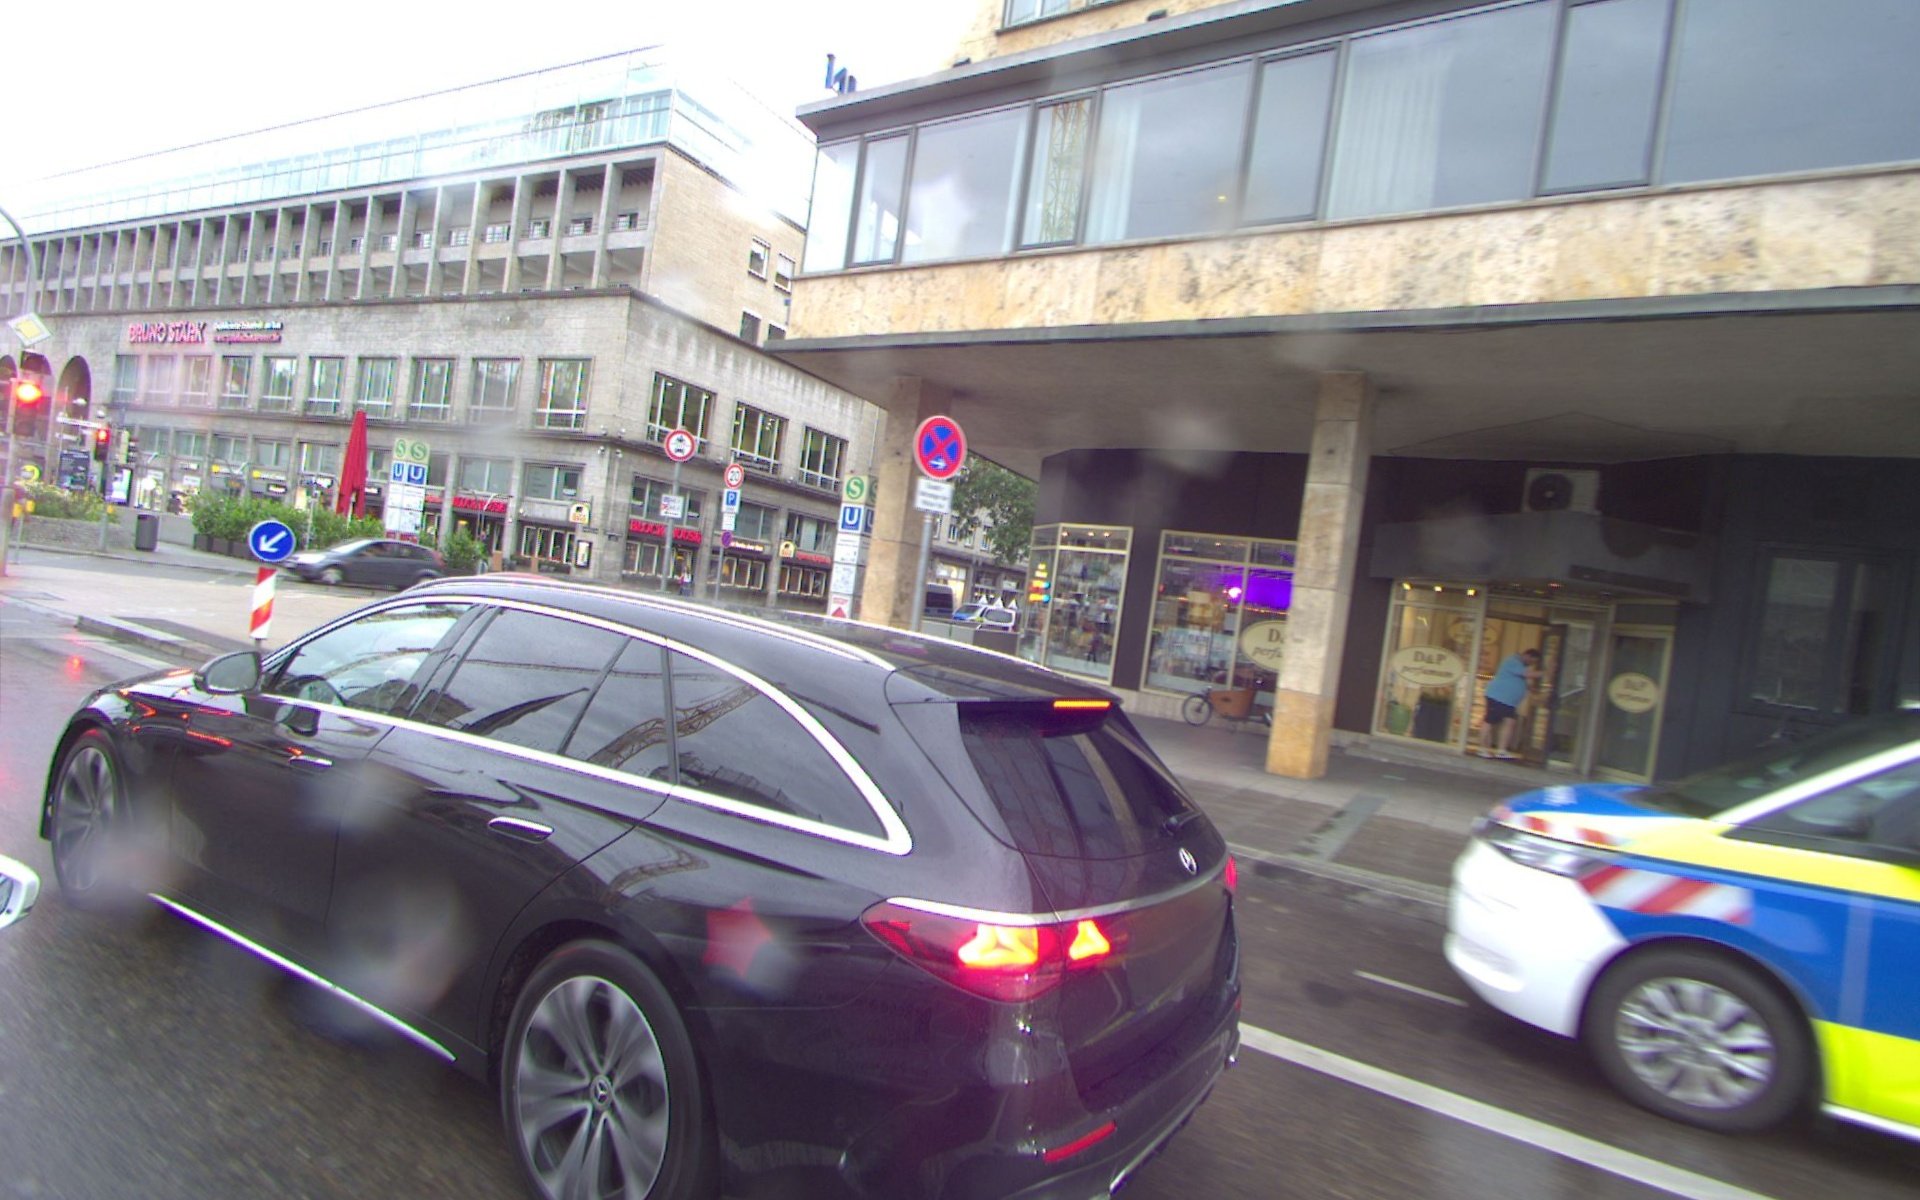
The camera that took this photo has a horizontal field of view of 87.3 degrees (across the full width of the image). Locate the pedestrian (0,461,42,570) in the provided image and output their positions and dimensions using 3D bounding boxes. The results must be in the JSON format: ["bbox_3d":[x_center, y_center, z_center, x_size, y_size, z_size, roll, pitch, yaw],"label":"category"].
[{"bbox_3d":[-16.182,-1.433,17.004,0.561,1.772,0.678,8,-1,-15],"label":"pedestrian"}]

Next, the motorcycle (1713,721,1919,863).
[{"bbox_3d":[9.826,2.140,11.300,2.074,1.232,0.567,6,-1,40],"label":"motorcycle"}]

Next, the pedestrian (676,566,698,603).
[{"bbox_3d":[-12.126,-0.687,44.668,0.748,1.530,0.714,8,-1,-16],"label":"pedestrian"}]

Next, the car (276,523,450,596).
[{"bbox_3d":[-16.579,-1.103,28.088,1.823,1.414,3.658,7,-2,36],"label":"car"}]

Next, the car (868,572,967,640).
[{"bbox_3d":[-2.108,0.370,52.380,1.966,2.792,6.184,7,-2,29],"label":"car"}]

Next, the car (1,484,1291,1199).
[{"bbox_3d":[-1.411,0.598,3.653,4.552,1.519,1.797,7,-2,32],"label":"car"}]

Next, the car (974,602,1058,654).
[{"bbox_3d":[2.732,1.380,47.651,1.966,1.995,4.638,8,-1,29],"label":"car"}]

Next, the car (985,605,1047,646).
[{"bbox_3d":[3.588,1.633,63.837,1.966,2.065,4.483,7,-2,29],"label":"car"}]

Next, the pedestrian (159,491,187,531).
[{"bbox_3d":[-43.490,-4.908,55.585,0.811,2.037,0.764,7,-1,32],"label":"pedestrian"}]

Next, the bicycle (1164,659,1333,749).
[{"bbox_3d":[4.604,1.646,16.167,2.431,1.058,0.657,7,-1,32],"label":"bicycle"}]

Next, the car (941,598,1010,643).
[{"bbox_3d":[0.963,1.208,58.932,1.966,2.065,4.557,7,-2,29],"label":"car"}]

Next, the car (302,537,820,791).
[{"bbox_3d":[-3.661,0.469,9.007,4.451,1.503,1.879,7,-2,31],"label":"car"}]

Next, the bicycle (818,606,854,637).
[{"bbox_3d":[-4.791,0.838,39.032,0.581,1.021,2.217,7,-2,12],"label":"bicycle"}]

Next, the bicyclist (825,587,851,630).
[{"bbox_3d":[-4.735,0.326,38.931,0.601,1.558,0.719,7,-1,13],"label":"bicyclist"}]

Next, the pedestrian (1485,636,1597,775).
[{"bbox_3d":[8.408,1.519,14.556,1.119,1.811,0.798,7,-1,39],"label":"pedestrian"}]

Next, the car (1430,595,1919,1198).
[{"bbox_3d":[4.645,1.276,3.820,4.853,1.942,1.878,7,-2,31],"label":"car"}]
